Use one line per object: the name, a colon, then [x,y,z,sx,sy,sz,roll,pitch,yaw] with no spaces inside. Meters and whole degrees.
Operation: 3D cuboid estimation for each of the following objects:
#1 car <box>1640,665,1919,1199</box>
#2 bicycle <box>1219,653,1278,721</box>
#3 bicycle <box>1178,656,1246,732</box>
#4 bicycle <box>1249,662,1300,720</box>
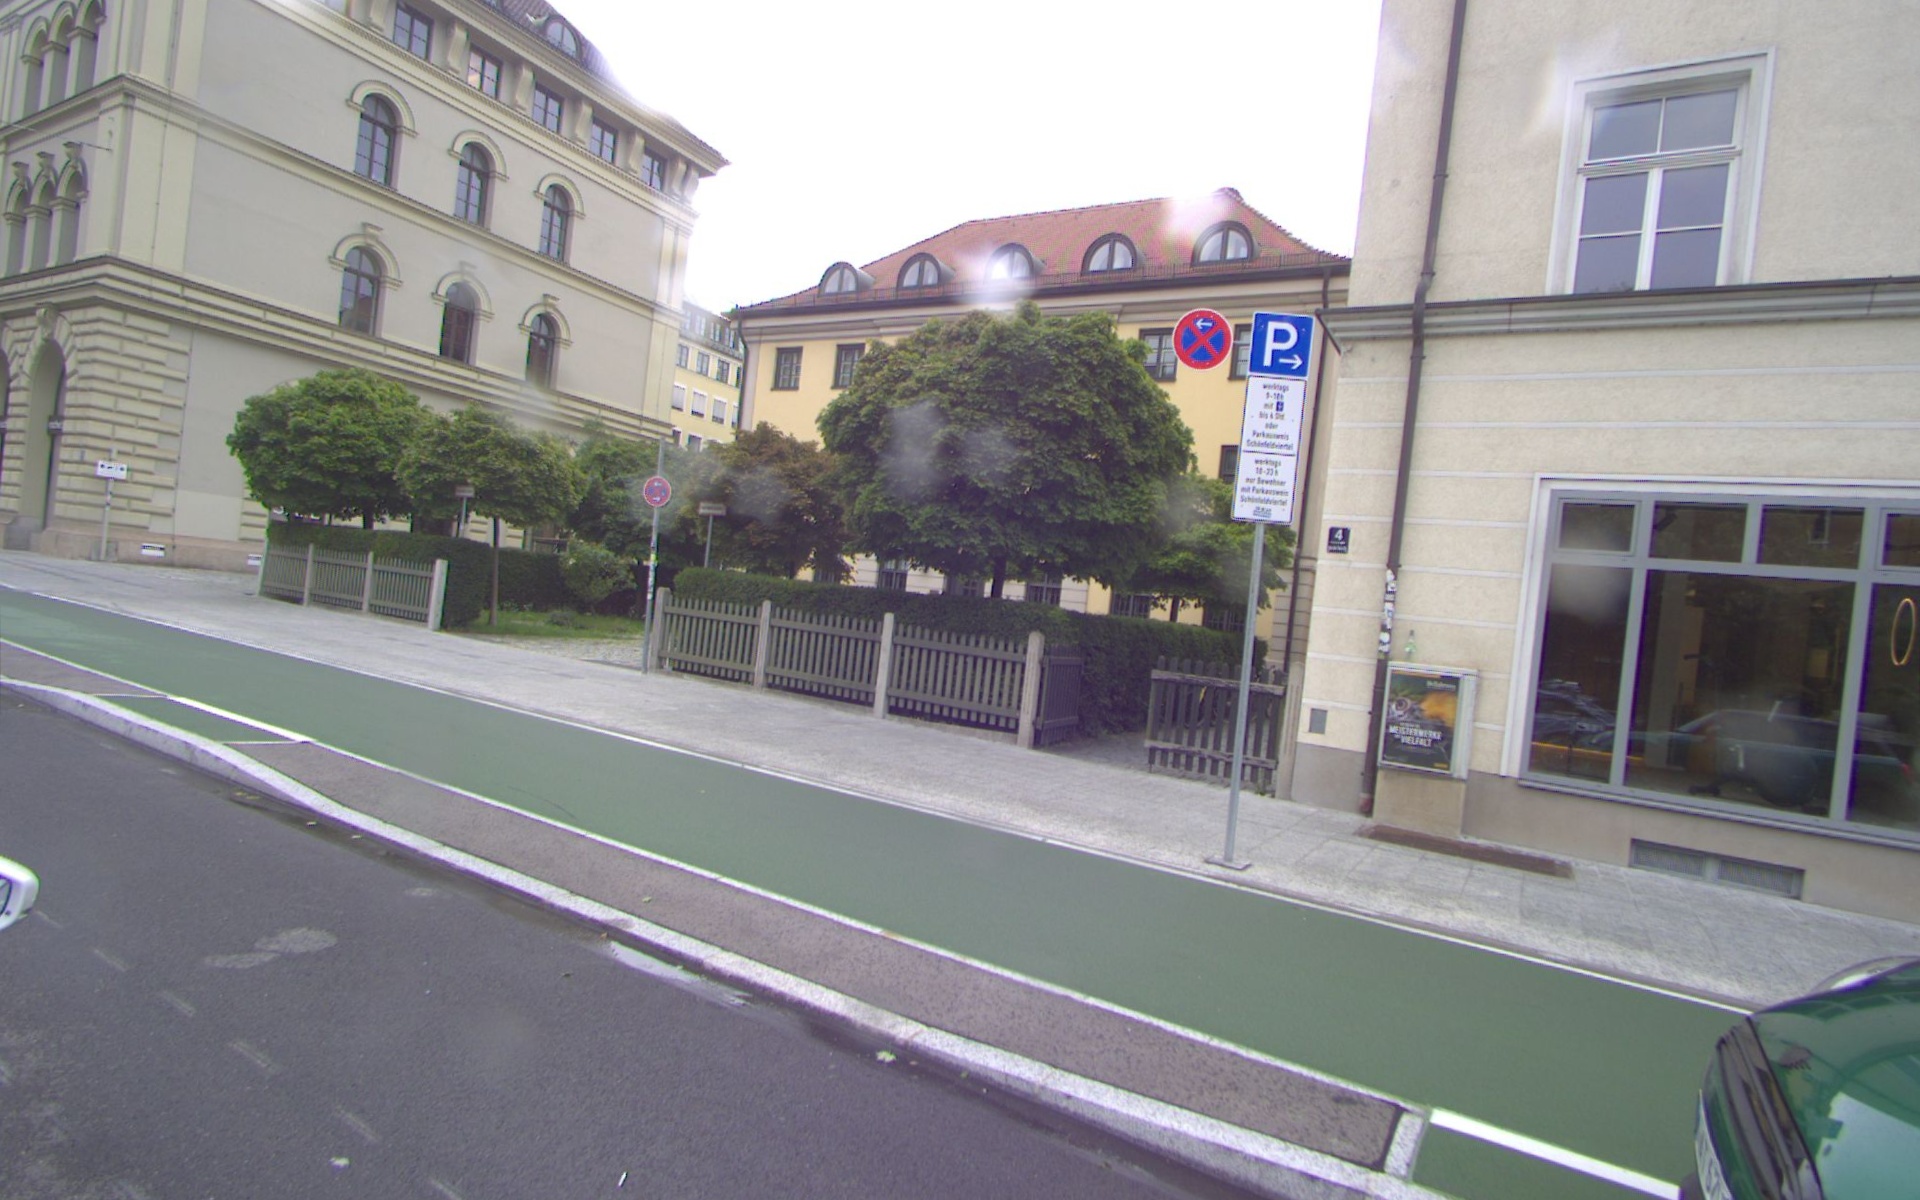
car: [3.157,1.119,1.139,3.767,1.538,1.678,7,-1,33]
bicycle: [5.343,1.599,18.553,0.512,1.124,1.830,7,-1,30]
bicycle: [4.208,1.555,16.716,0.512,1.130,1.830,7,-1,30]
bicycle: [6.331,1.816,20.189,0.512,1.048,1.830,7,-1,30]
